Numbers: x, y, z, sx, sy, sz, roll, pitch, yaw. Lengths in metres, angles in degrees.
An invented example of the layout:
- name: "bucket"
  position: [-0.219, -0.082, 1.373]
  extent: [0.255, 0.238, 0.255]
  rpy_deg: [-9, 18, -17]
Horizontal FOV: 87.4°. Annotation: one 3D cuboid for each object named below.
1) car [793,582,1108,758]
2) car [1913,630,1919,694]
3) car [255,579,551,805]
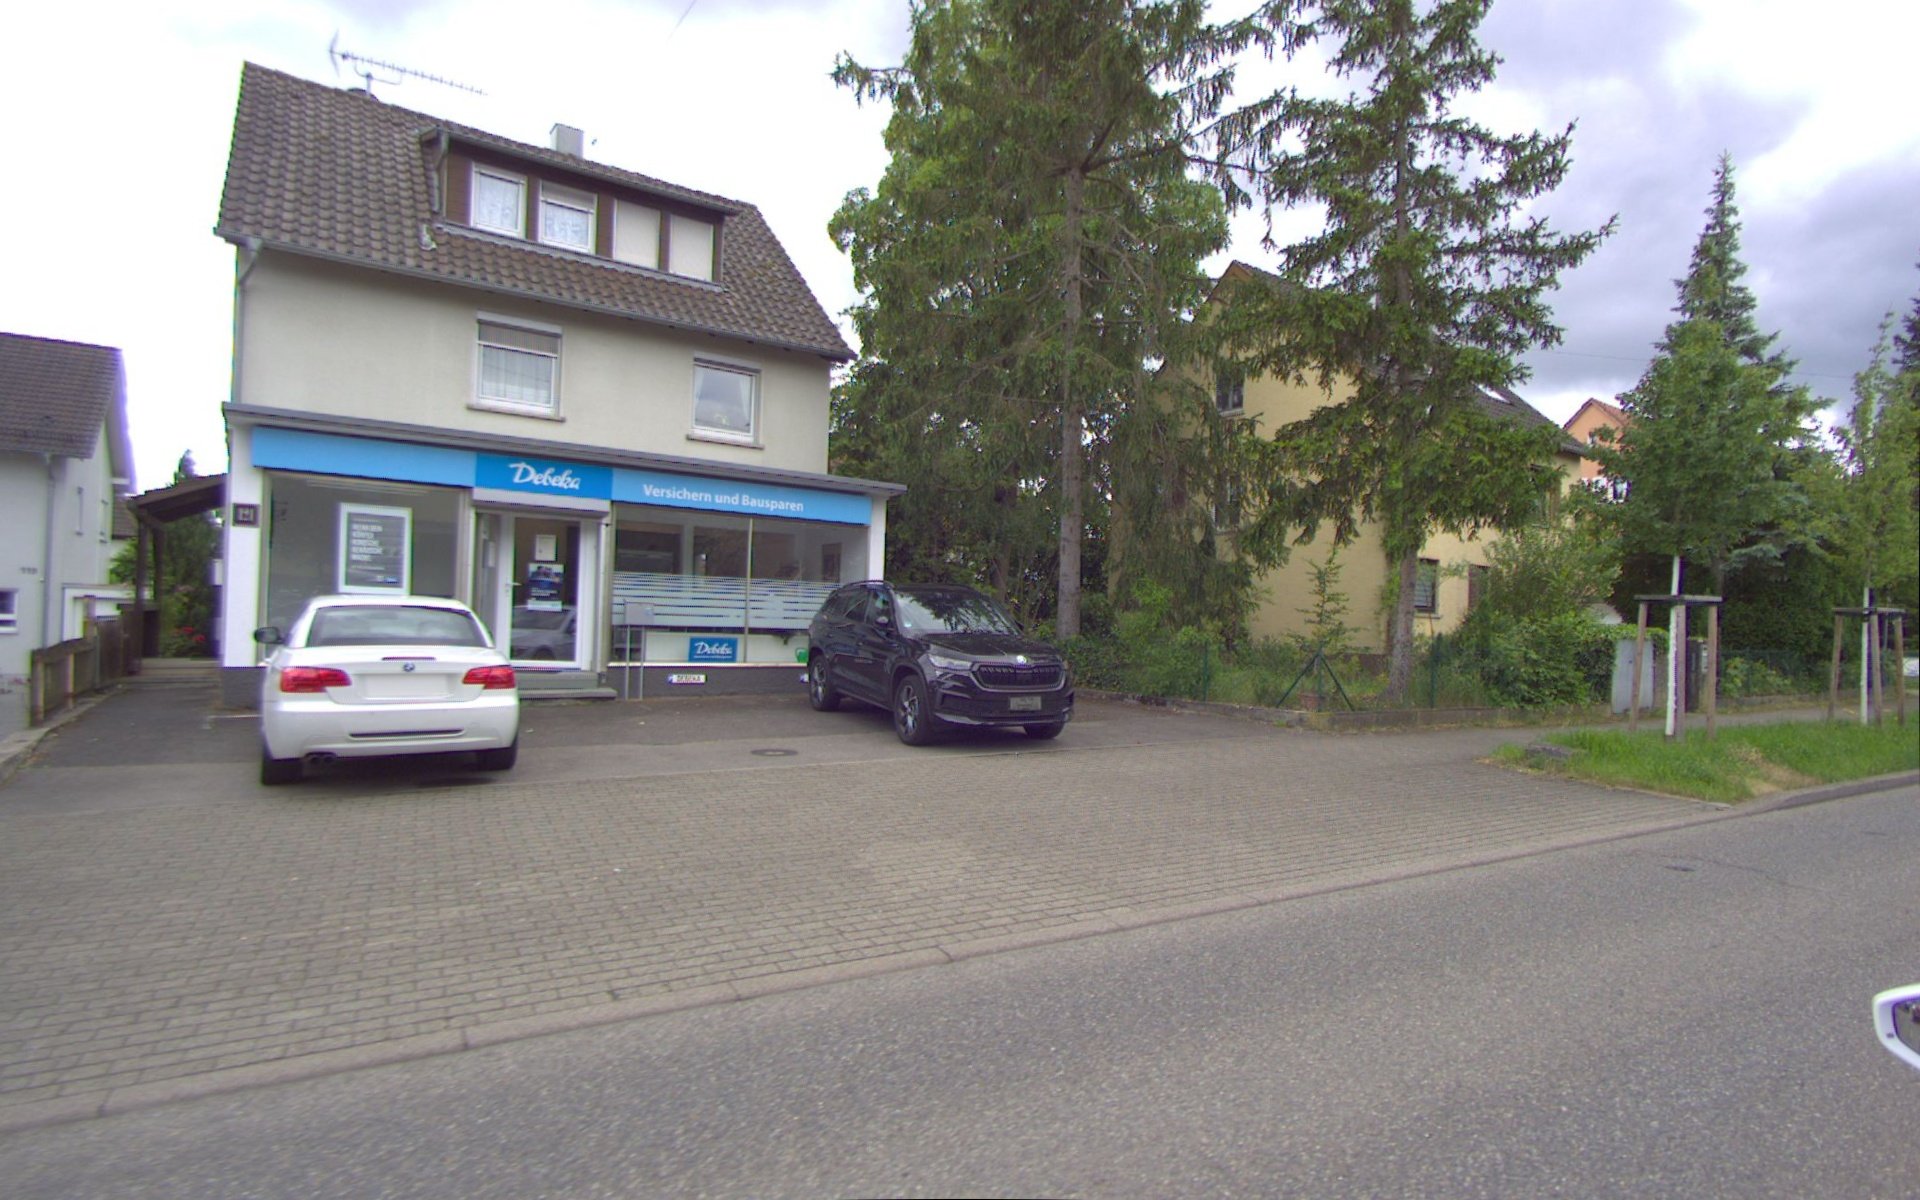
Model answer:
- name: "car"
  position: [-0.339, 0.654, 11.805]
  extent: [1.948, 1.639, 4.317]
  rpy_deg: [2, 0, -27]
- name: "car"
  position: [27.739, 1.710, 26.042]
  extent: [1.724, 1.728, 4.073]
  rpy_deg: [2, -1, -26]
- name: "car"
  position: [-5.056, 0.597, 8.862]
  extent: [1.798, 1.386, 4.250]
  rpy_deg: [2, 1, -34]
